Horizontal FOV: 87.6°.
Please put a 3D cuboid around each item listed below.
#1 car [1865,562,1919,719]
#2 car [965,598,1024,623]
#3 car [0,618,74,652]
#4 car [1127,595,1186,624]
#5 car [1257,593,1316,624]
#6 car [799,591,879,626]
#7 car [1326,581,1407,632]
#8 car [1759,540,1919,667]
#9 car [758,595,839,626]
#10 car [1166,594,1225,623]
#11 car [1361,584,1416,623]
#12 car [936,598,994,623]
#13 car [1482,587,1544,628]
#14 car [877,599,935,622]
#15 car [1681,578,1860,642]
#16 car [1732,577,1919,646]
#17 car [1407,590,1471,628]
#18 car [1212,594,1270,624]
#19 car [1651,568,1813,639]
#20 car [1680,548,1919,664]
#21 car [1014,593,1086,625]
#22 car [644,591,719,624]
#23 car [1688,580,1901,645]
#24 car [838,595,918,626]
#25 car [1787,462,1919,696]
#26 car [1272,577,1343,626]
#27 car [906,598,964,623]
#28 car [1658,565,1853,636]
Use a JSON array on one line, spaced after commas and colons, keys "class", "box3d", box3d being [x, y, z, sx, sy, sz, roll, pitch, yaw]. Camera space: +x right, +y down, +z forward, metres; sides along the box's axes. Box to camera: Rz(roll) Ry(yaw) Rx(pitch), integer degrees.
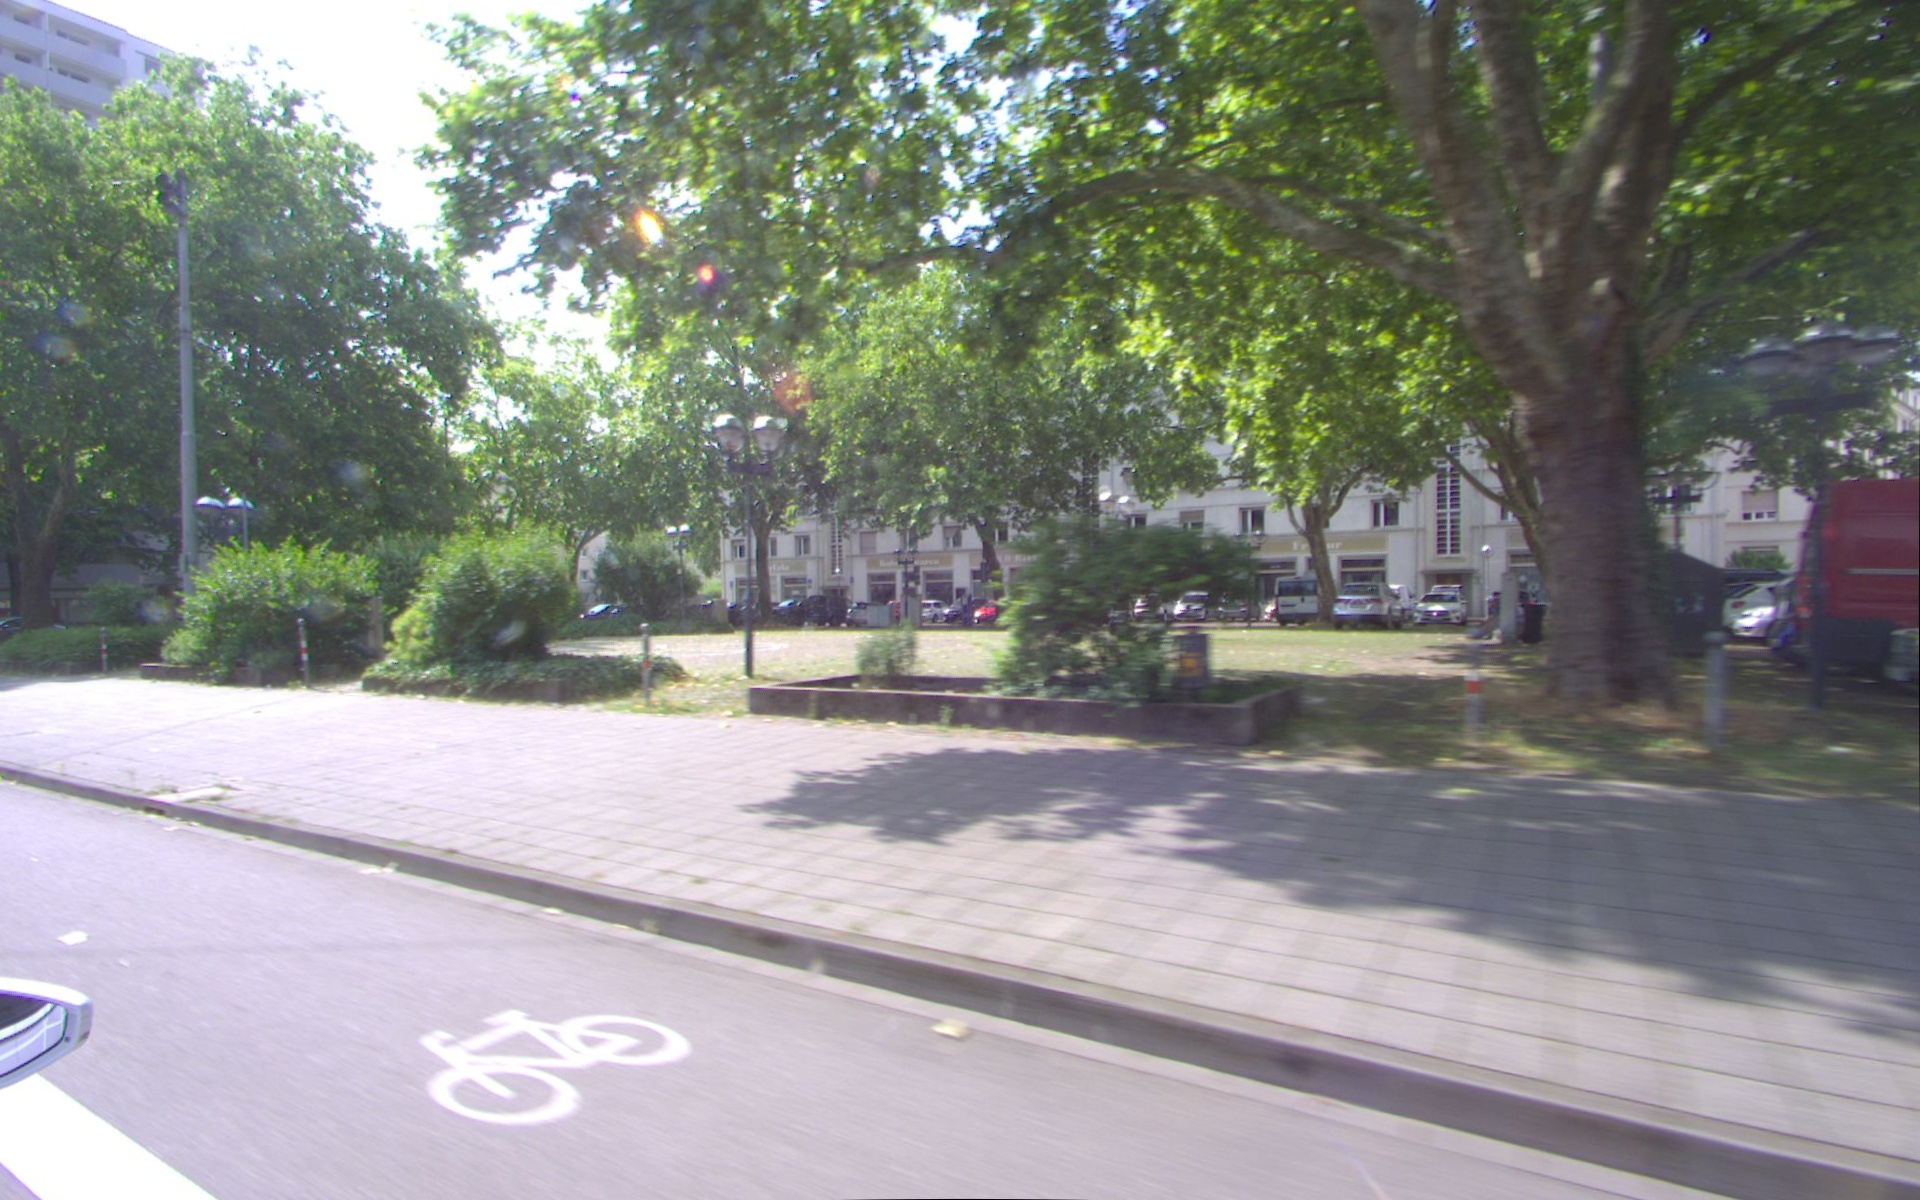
[{"class": "car", "box3d": [10.926, 0.348, 8.893, 3.980, 1.449, 1.647, 0, 1, 29]}, {"class": "car", "box3d": [2.274, 0.667, 64.898, 1.958, 1.542, 4.245, 0, 1, 32]}, {"class": "car", "box3d": [-42.161, 1.562, 44.219, 1.674, 1.409, 4.493, -1, 0, 9]}, {"class": "car", "box3d": [11.626, 0.530, 59.015, 1.958, 1.570, 4.415, 0, 1, 32]}, {"class": "car", "box3d": [18.081, 0.448, 55.333, 2.008, 1.570, 4.671, 0, 1, 32]}, {"class": "car", "box3d": [-7.046, 0.485, 58.842, 2.161, 1.955, 4.668, 0, 1, 34]}, {"class": "car", "box3d": [14.293, 0.190, 35.067, 1.971, 1.658, 4.143, 0, 1, 32]}, {"class": "car", "box3d": [13.846, 0.054, 13.528, 4.587, 1.672, 2.002, 0, 0, 34]}, {"class": "car", "box3d": [-9.598, 0.590, 59.901, 2.161, 1.729, 4.668, 0, 1, 34]}, {"class": "car", "box3d": [13.596, 0.487, 57.592, 1.958, 1.570, 4.671, 0, 1, 32]}, {"class": "car", "box3d": [22.580, 0.167, 52.654, 2.008, 1.955, 4.671, 0, 1, 32]}, {"class": "car", "box3d": [0.365, 0.685, 66.453, 1.958, 1.542, 4.245, 0, 1, 32]}, {"class": "car", "box3d": [22.378, 0.279, 40.438, 1.971, 1.544, 4.143, 0, 1, 32]}, {"class": "car", "box3d": [-3.738, 0.720, 70.008, 1.958, 1.542, 4.245, 0, 1, 32]}, {"class": "car", "box3d": [20.609, 0.259, 25.644, 3.327, 1.528, 1.597, 0, 0, 30]}, {"class": "car", "box3d": [18.669, 0.241, 21.104, 3.587, 1.381, 1.578, 0, 0, 30]}, {"class": "car", "box3d": [19.584, 0.331, 40.840, 1.931, 1.440, 4.156, 0, 1, 32]}, {"class": "car", "box3d": [15.950, 0.470, 56.638, 1.958, 1.570, 4.671, 0, 1, 32]}, {"class": "car", "box3d": [22.915, 0.098, 29.904, 3.588, 2.014, 1.819, 0, 1, 30]}, {"class": "car", "box3d": [14.785, 0.111, 16.548, 4.587, 1.777, 2.002, 0, 0, 34]}, {"class": "car", "box3d": [4.654, 0.449, 50.997, 1.958, 1.542, 4.245, 0, 1, 32]}, {"class": "car", "box3d": [-17.957, 0.443, 64.779, 2.048, 2.040, 4.403, 0, 1, 33]}, {"class": "car", "box3d": [19.474, 0.293, 23.577, 3.587, 1.434, 1.643, 0, 0, 30]}, {"class": "car", "box3d": [-4.708, 0.576, 58.032, 2.161, 1.729, 4.668, 0, 1, 34]}, {"class": "car", "box3d": [13.015, -0.252, 10.919, 5.936, 2.617, 2.106, 0, 1, 34]}, {"class": "car", "box3d": [15.311, 0.033, 44.015, 2.047, 2.040, 4.245, 0, 1, 32]}, {"class": "car", "box3d": [-1.643, 0.696, 68.227, 1.958, 1.542, 4.245, 0, 1, 32]}, {"class": "car", "box3d": [21.988, 0.030, 27.903, 3.987, 1.844, 1.820, 0, 0, 30]}]
